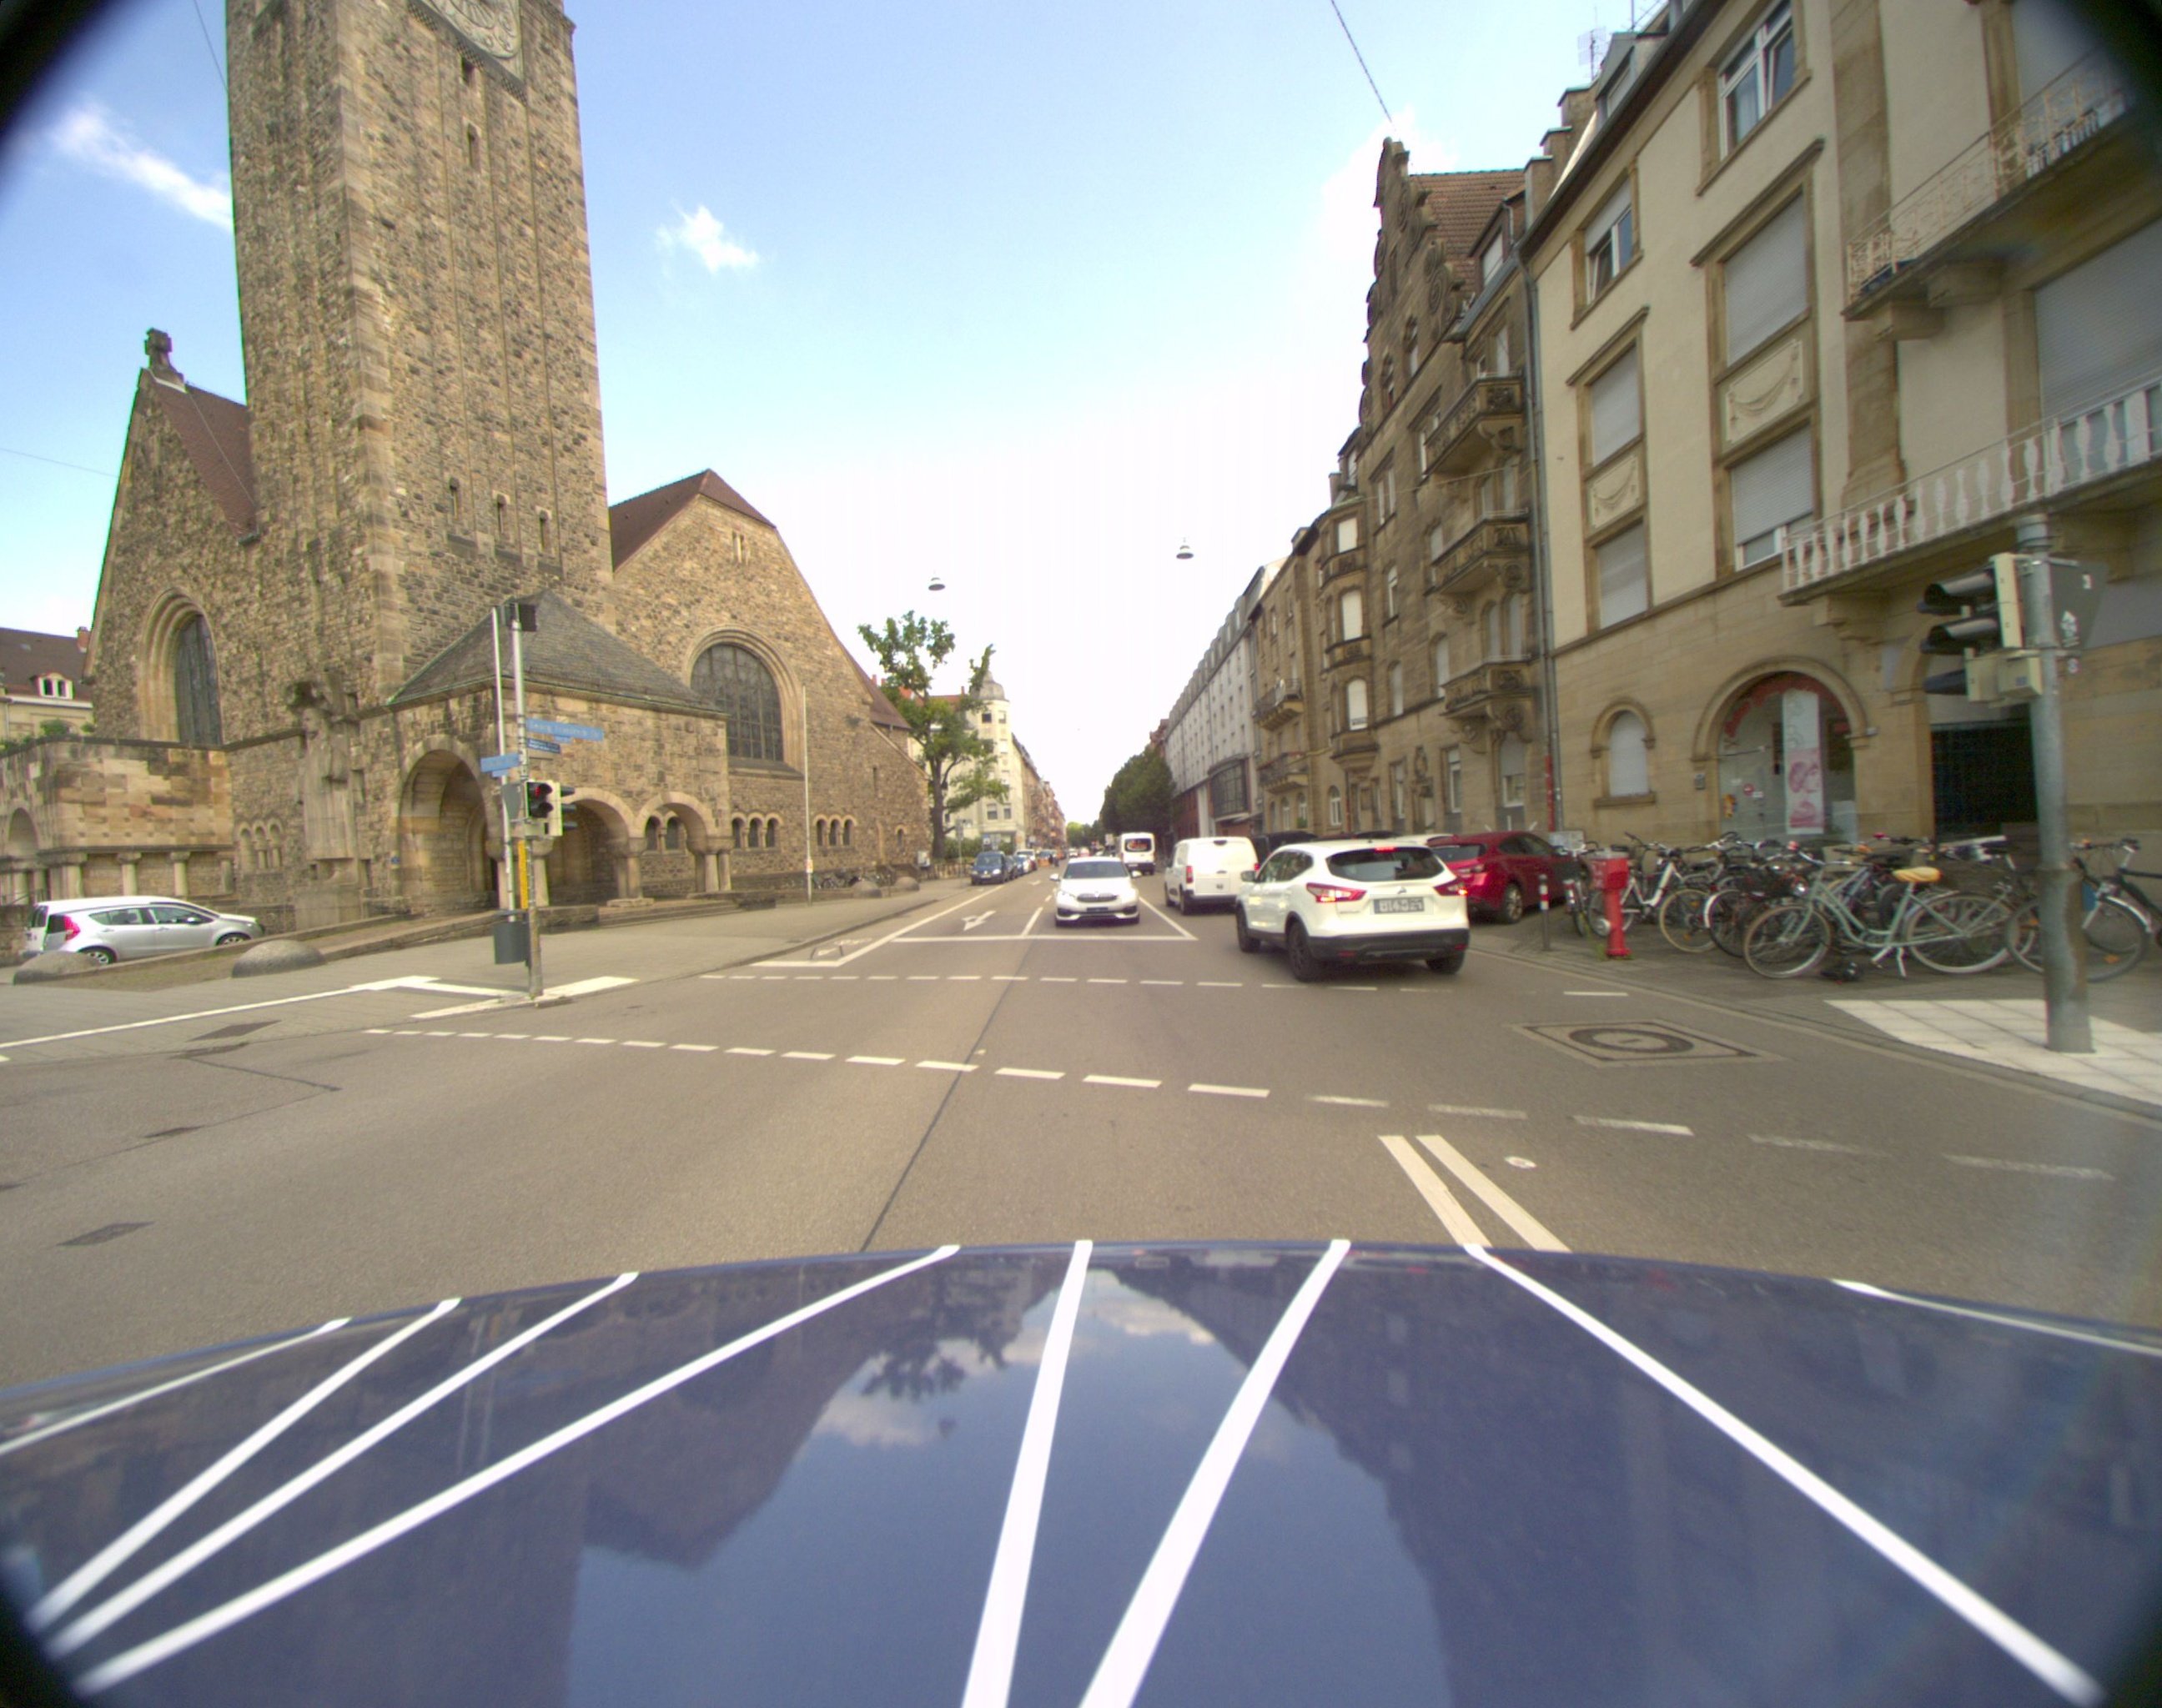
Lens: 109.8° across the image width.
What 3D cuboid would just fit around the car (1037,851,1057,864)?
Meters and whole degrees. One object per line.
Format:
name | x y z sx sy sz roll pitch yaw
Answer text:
car | -3.864 0.383 86.814 1.809 1.360 4.186 -3 0 2

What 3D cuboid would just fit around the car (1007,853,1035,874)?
car | -4.584 0.689 58.733 1.683 1.438 3.798 -3 0 2

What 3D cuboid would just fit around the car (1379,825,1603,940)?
car | 7.163 0.427 13.148 4.006 1.448 1.808 -6 1 -37

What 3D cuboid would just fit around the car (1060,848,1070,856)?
car | -3.496 -0.451 167.592 1.809 1.756 4.186 -3 1 2

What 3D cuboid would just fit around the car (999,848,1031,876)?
car | -4.663 0.546 54.049 1.683 1.780 4.000 -3 1 2

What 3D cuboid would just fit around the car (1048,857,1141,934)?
car | 0.334 0.855 17.496 1.826 1.439 4.386 -2 1 2

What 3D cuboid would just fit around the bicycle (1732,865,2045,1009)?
bicycle | 6.749 0.704 6.444 1.733 1.046 0.531 -5 1 17

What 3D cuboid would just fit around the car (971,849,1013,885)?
car | -4.927 0.681 42.544 1.683 1.780 4.145 -3 1 2

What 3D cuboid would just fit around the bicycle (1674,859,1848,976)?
bicycle | 7.084 0.651 7.944 1.372 1.046 0.418 -6 1 -1

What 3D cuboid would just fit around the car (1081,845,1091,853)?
car | 1.078 -0.993 161.130 1.809 1.590 4.186 -3 0 2

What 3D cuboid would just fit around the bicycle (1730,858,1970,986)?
bicycle | 7.258 0.638 7.226 1.580 1.046 0.481 -5 1 8

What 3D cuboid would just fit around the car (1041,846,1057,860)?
car | -4.221 -0.136 101.126 1.809 1.756 4.186 -3 1 2

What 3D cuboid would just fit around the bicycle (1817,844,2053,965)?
bicycle | 8.485 0.498 7.597 1.580 1.046 0.481 -5 1 8

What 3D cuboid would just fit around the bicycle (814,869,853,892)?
bicycle | -12.518 1.326 38.458 1.935 1.106 0.587 0 3 22

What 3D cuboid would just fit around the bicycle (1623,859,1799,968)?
bicycle | 6.989 0.649 8.458 1.483 1.046 0.462 -5 1 1

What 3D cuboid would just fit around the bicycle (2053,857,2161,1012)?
bicycle | 8.261 0.542 5.542 1.441 1.046 0.481 -5 1 10

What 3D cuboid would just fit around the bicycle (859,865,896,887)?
bicycle | -11.100 1.190 41.504 1.935 1.106 0.587 0 3 22

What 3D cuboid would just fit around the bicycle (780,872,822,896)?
bicycle | -13.375 1.414 36.330 1.935 1.106 0.587 0 3 22

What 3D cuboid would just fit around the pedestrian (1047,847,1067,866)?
pedestrian | -2.446 0.239 76.640 1.316 1.747 1.370 -4 1 -38

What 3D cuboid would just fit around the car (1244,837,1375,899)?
car | 7.071 0.402 23.326 3.960 1.421 1.728 -6 0 -37

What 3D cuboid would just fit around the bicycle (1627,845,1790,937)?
bicycle | 8.328 0.479 10.114 1.631 1.046 0.558 -5 1 0

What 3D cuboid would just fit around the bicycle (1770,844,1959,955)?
bicycle | 8.553 0.488 8.321 1.483 1.046 0.462 -5 1 2

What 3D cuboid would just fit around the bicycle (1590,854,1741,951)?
bicycle | 7.279 0.593 9.484 1.483 1.046 0.462 -5 1 -2

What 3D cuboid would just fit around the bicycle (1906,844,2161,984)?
bicycle | 8.352 0.511 6.605 1.612 1.046 0.481 -5 1 8

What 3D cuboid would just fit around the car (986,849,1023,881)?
car | -4.742 0.650 47.702 1.683 1.780 4.000 -3 1 2

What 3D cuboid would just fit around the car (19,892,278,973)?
car | -26.863 2.199 22.098 1.996 1.842 4.312 -5 -1 25

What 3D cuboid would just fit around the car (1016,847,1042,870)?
car | -4.651 0.373 68.445 1.844 1.927 4.186 -3 1 2

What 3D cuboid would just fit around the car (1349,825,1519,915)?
car | 7.760 0.314 16.535 3.960 1.448 1.727 -7 0 -40

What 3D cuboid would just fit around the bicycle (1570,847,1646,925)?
bicycle | 8.388 0.483 12.053 1.908 1.046 0.556 -6 1 -44

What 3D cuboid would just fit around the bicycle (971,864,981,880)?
bicycle | -6.926 1.180 50.059 0.480 1.046 1.442 -4 1 -5

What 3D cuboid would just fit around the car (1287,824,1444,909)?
car | 7.266 0.295 19.278 3.960 1.679 1.799 -7 0 -39

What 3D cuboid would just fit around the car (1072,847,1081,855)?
car | -1.099 -0.776 180.864 1.809 1.654 4.186 -3 0 2

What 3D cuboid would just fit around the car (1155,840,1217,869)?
car | 7.007 0.025 50.513 3.960 1.576 1.727 -5 -1 -39

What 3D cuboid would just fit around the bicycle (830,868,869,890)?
bicycle | -11.993 1.281 39.318 1.935 1.106 0.587 0 3 22

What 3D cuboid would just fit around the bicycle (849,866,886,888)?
bicycle | -11.446 1.223 40.777 1.935 1.106 0.587 0 3 22

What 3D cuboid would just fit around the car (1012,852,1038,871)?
car | -4.669 0.612 64.075 1.683 1.488 3.890 -3 0 2

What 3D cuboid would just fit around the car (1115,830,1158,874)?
car | 3.310 -0.080 46.692 2.081 2.430 5.945 -2 -1 0

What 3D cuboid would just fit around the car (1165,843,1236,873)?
car | 6.886 0.236 43.712 3.961 1.465 1.727 -4 1 -39

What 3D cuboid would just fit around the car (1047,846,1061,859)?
car | -4.061 -0.218 114.565 1.809 1.756 4.186 -3 1 2

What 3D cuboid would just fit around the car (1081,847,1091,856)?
car | 1.068 -0.522 154.015 1.809 1.590 4.186 -3 0 2

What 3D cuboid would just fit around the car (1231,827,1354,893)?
car | 7.255 0.190 25.999 3.959 1.857 1.727 -6 1 -33

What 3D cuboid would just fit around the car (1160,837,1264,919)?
car | 3.163 0.559 19.185 1.817 1.765 4.283 -3 0 0

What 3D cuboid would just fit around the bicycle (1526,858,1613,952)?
bicycle | 6.692 0.663 10.365 1.815 1.046 0.556 -6 1 -45

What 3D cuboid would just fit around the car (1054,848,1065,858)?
car | -4.082 -0.197 143.711 1.809 1.901 4.186 -3 1 2

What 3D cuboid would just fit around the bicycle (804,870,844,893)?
bicycle | -12.801 1.354 37.799 1.935 1.106 0.587 0 3 22

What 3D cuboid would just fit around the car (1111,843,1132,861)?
car | 3.913 -0.207 73.817 1.891 1.641 3.890 -3 1 2

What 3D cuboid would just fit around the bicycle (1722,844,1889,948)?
bicycle | 8.496 0.482 8.938 1.483 1.046 0.462 -5 1 -2

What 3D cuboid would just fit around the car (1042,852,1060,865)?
car | -3.659 0.502 92.426 1.809 1.360 4.186 -3 0 2

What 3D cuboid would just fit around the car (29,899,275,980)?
car | -24.085 2.156 19.869 1.815 1.668 3.643 -5 -1 22

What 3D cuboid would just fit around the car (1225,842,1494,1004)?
car | 3.162 0.694 9.580 1.775 1.573 4.020 -1 0 -2
